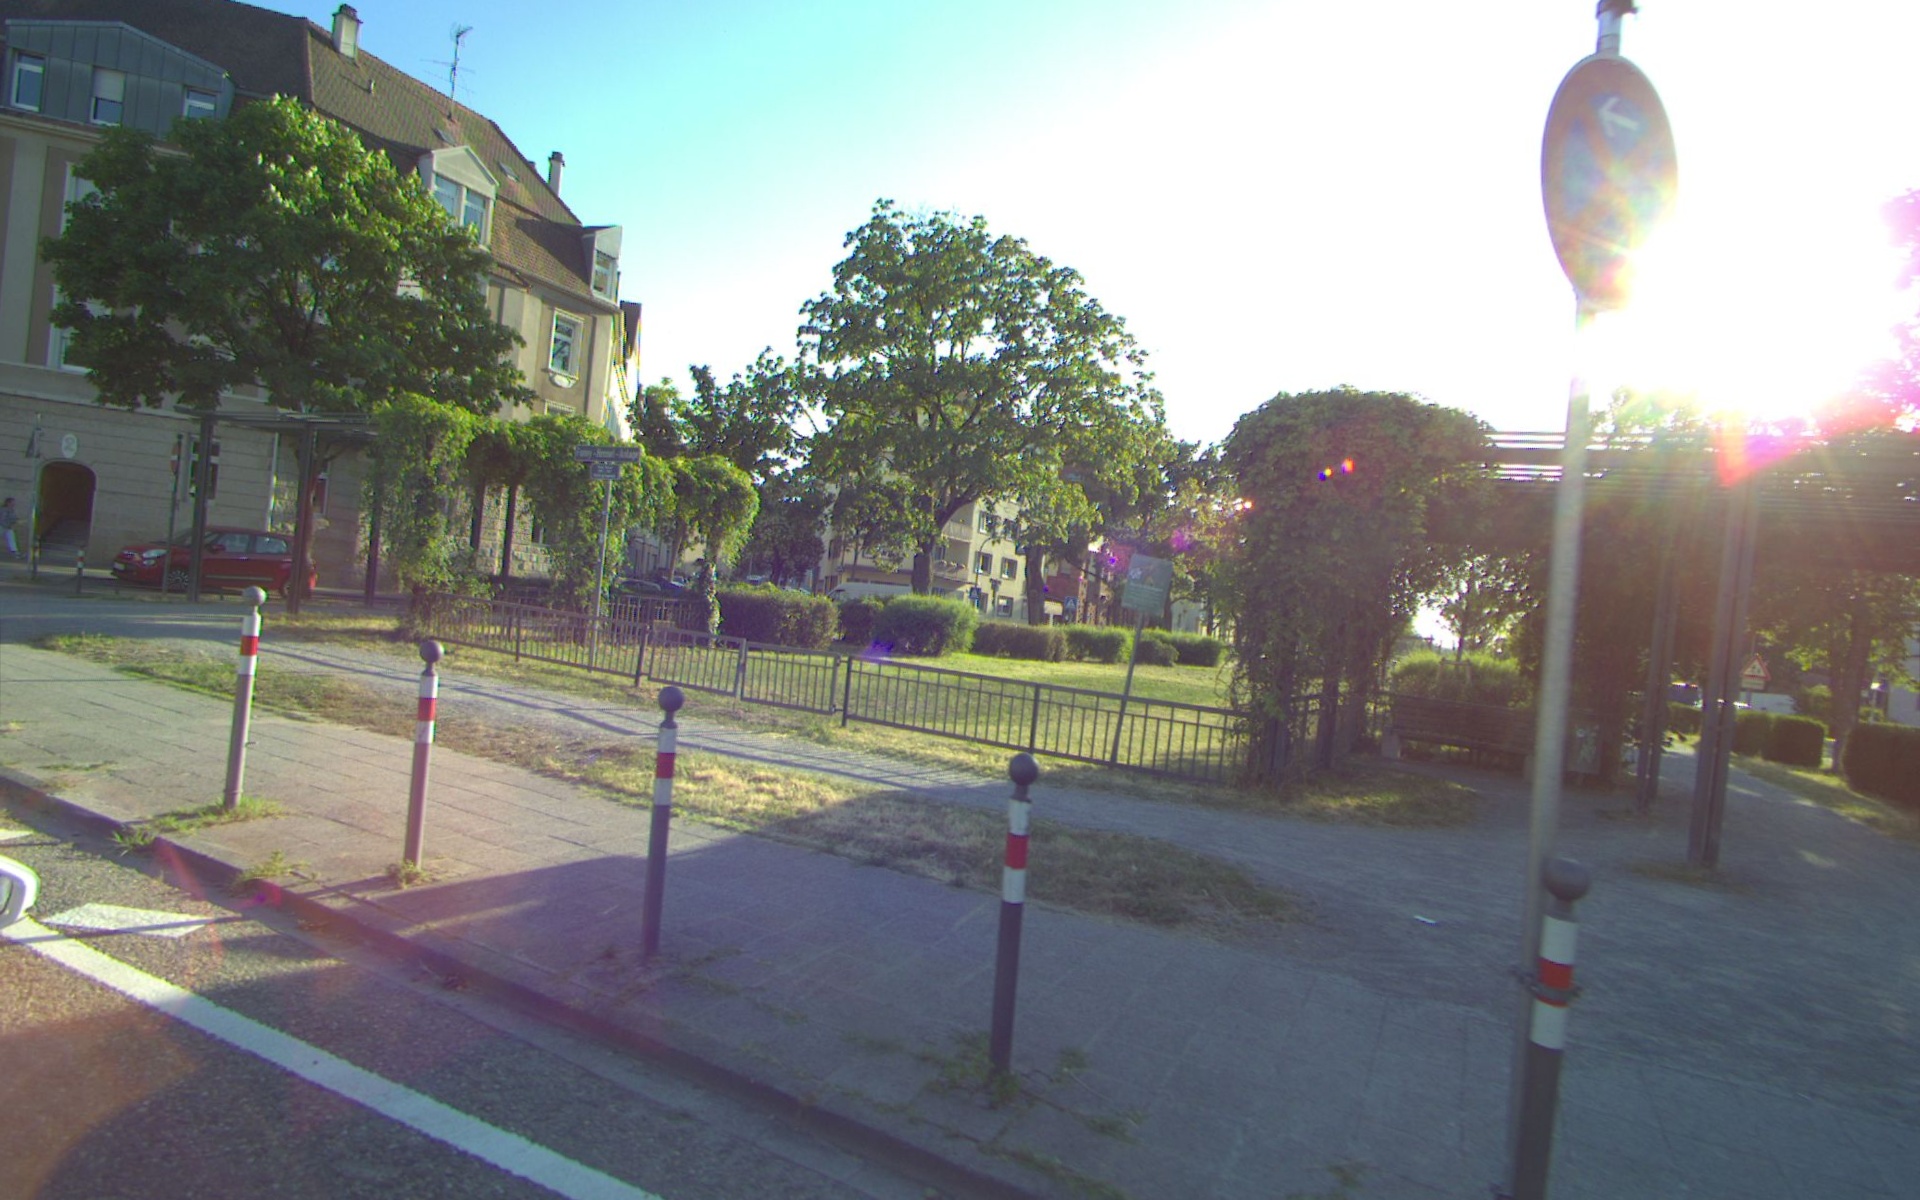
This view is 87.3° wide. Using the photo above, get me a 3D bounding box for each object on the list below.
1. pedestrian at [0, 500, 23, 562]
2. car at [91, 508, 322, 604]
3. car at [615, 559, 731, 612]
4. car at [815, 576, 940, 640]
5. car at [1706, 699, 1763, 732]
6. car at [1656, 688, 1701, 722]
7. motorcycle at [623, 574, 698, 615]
[{"bbox_3d":[-24.799,-1.803,25.980,0.732,1.565,0.816,7,3,44],"label":"pedestrian"},{"bbox_3d":[-18.446,-1.009,24.821,1.781,1.762,4.082,8,0,29],"label":"car"},{"bbox_3d":[-10.873,-0.515,38.354,1.781,1.552,4.082,7,0,29],"label":"car"},{"bbox_3d":[-4.545,0.441,56.193,6.566,2.778,2.317,6,0,-1],"label":"car"},{"bbox_3d":[45.095,6.713,58.629,1.731,1.536,3.757,6,-1,26],"label":"car"},{"bbox_3d":[53.094,7.714,74.393,1.966,2.149,3.995,6,-1,28],"label":"car"},{"bbox_3d":[-13.514,-0.254,45.435,3.170,1.505,0.854,5,-1,17],"label":"motorcycle"}]
